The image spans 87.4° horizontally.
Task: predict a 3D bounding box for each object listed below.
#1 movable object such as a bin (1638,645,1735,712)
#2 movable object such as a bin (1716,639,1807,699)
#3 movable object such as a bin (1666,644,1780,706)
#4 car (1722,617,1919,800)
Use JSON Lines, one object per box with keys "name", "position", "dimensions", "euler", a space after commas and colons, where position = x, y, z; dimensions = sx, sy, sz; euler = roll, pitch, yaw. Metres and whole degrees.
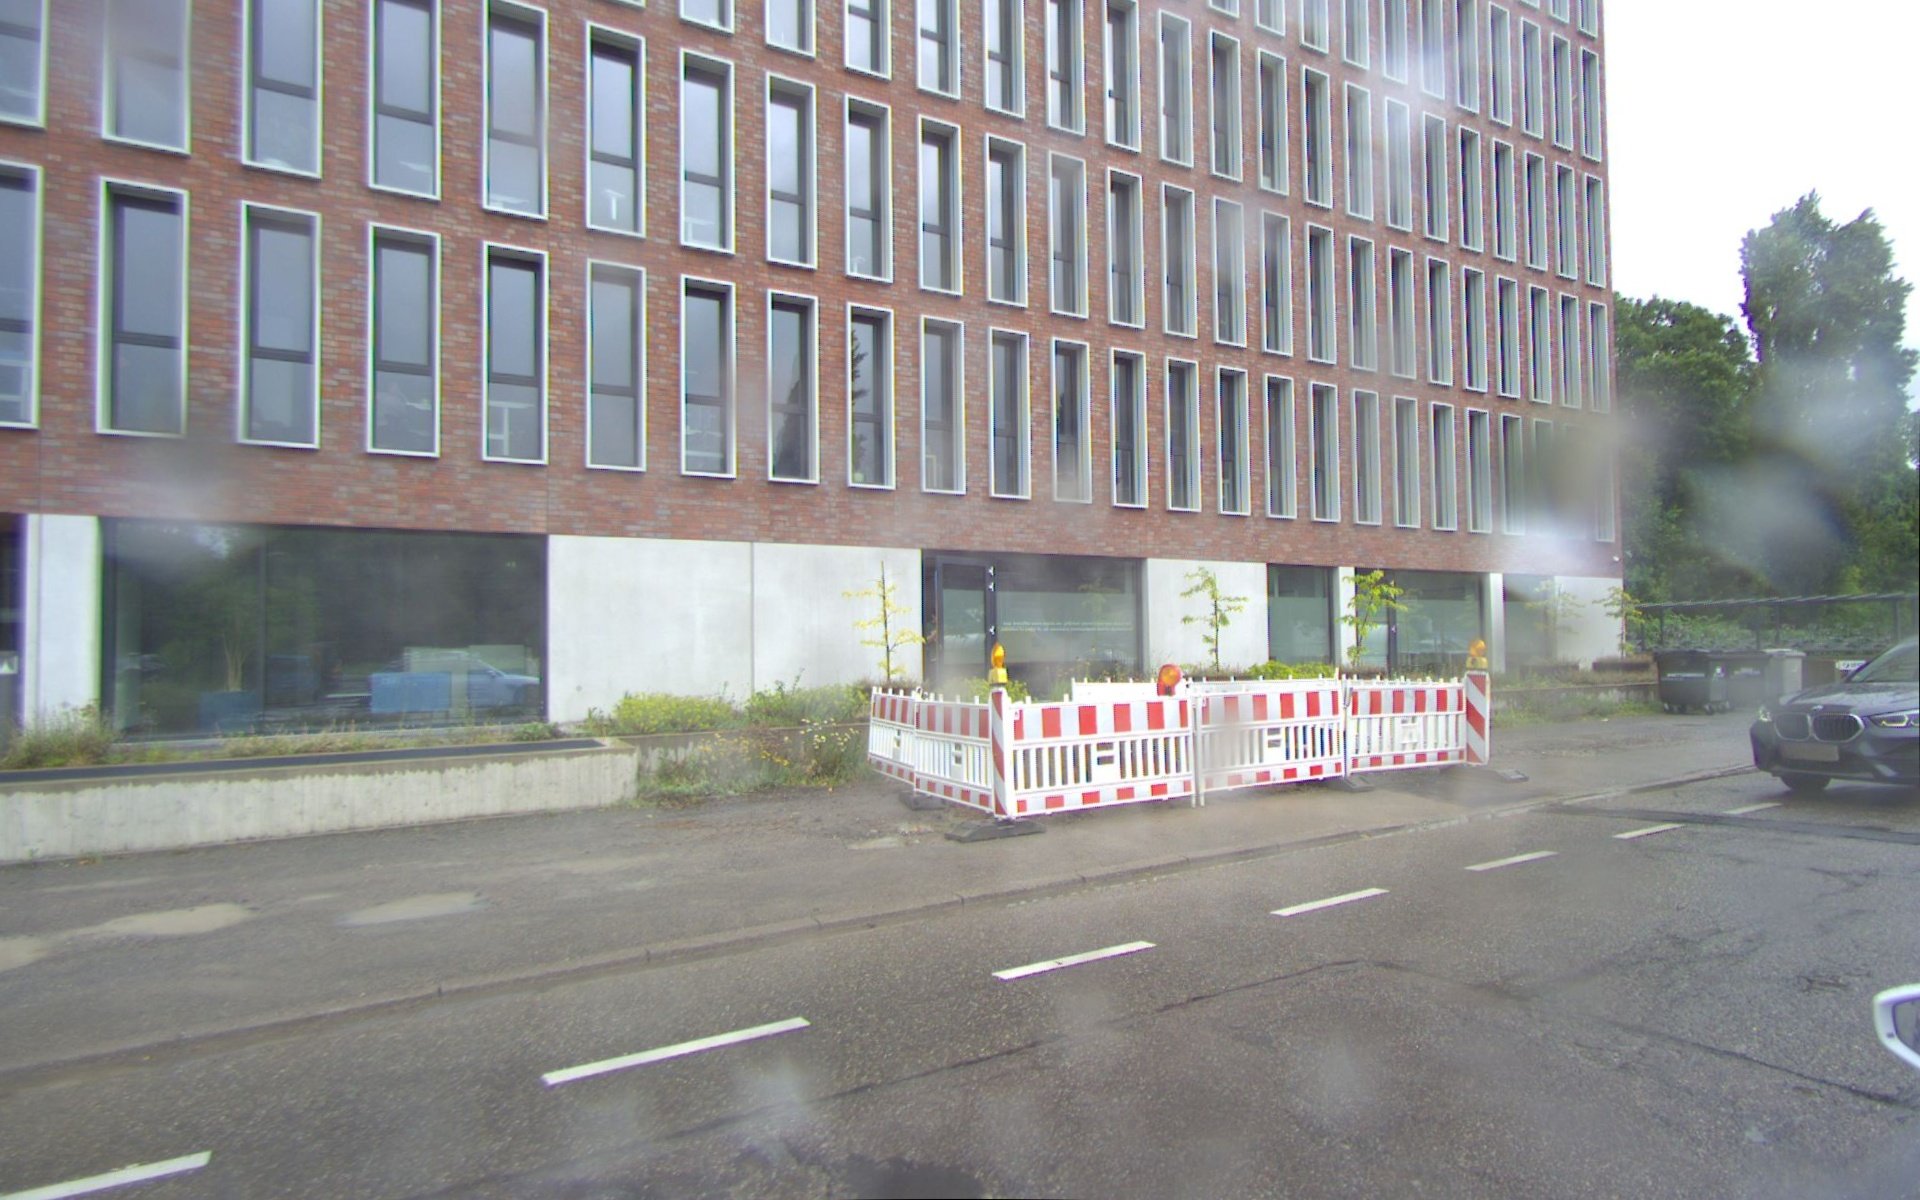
{"name": "movable object such as a bin", "position": [15.400, 1.638, 21.302], "dimensions": [1.435, 1.325, 1.286], "euler": [1, -3, -38]}
{"name": "movable object such as a bin", "position": [18.925, 1.617, 23.729], "dimensions": [1.344, 1.349, 1.288], "euler": [1, -3, -33]}
{"name": "movable object such as a bin", "position": [16.885, 1.642, 22.276], "dimensions": [1.422, 1.325, 1.377], "euler": [0, -3, -10]}
{"name": "car", "position": [10.184, 0.994, 9.957], "dimensions": [4.073, 1.588, 1.764], "euler": [-1, -5, -8]}
